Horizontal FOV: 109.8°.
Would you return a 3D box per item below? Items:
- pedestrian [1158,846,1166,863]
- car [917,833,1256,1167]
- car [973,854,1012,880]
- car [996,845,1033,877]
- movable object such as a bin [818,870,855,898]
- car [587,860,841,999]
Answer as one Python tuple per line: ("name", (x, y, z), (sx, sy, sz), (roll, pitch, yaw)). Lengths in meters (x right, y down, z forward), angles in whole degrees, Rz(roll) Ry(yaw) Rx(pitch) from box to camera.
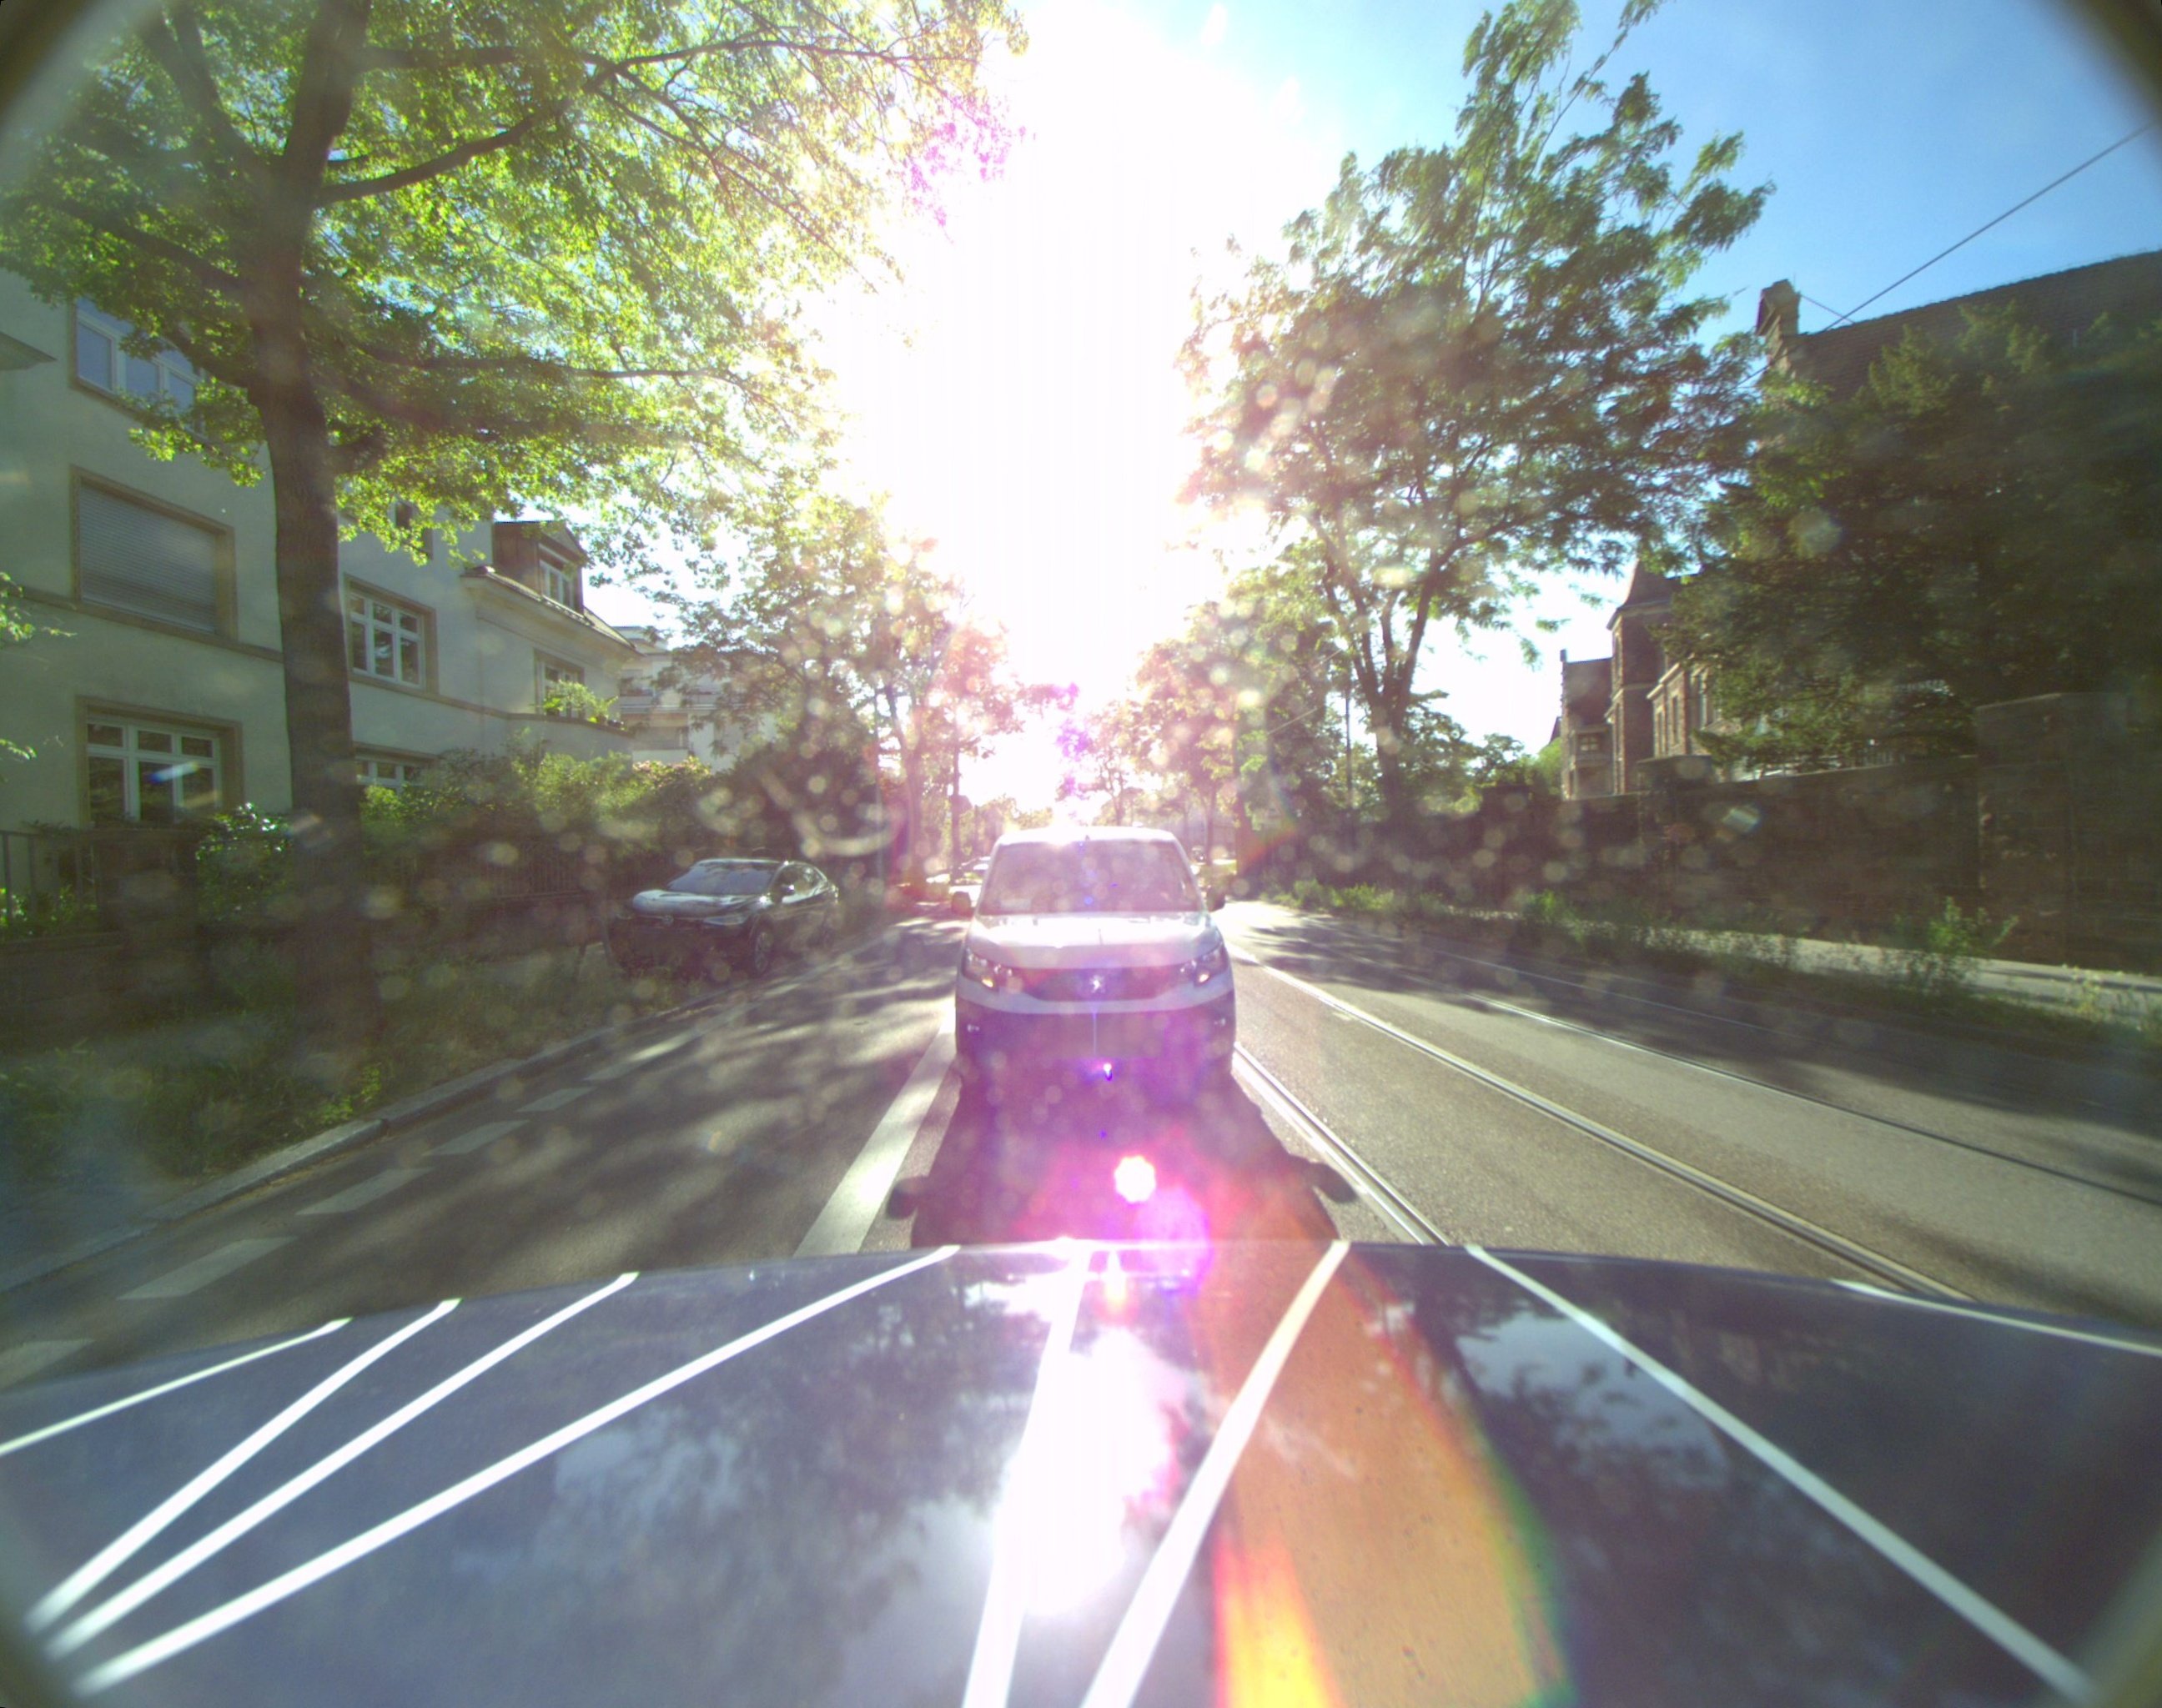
("pedestrian", (8.574, 0.009, 80.551), (0.634, 1.796, 0.674), (-1, 1, 23))
("car", (0.050, 0.787, 6.520), (1.793, 1.770, 4.786), (-2, 0, 0))
("car", (-5.244, 0.757, 45.449), (1.787, 1.443, 4.000), (-2, 0, 1))
("car", (-4.491, 0.436, 51.914), (1.998, 2.002, 4.583), (-2, 0, 1))
("movable object such as a bin", (-9.343, 1.151, 29.069), (1.088, 1.051, 0.713), (-1, 1, 21))
("car", (-5.158, 0.947, 11.394), (1.743, 1.597, 4.091), (2, 0, 1))
